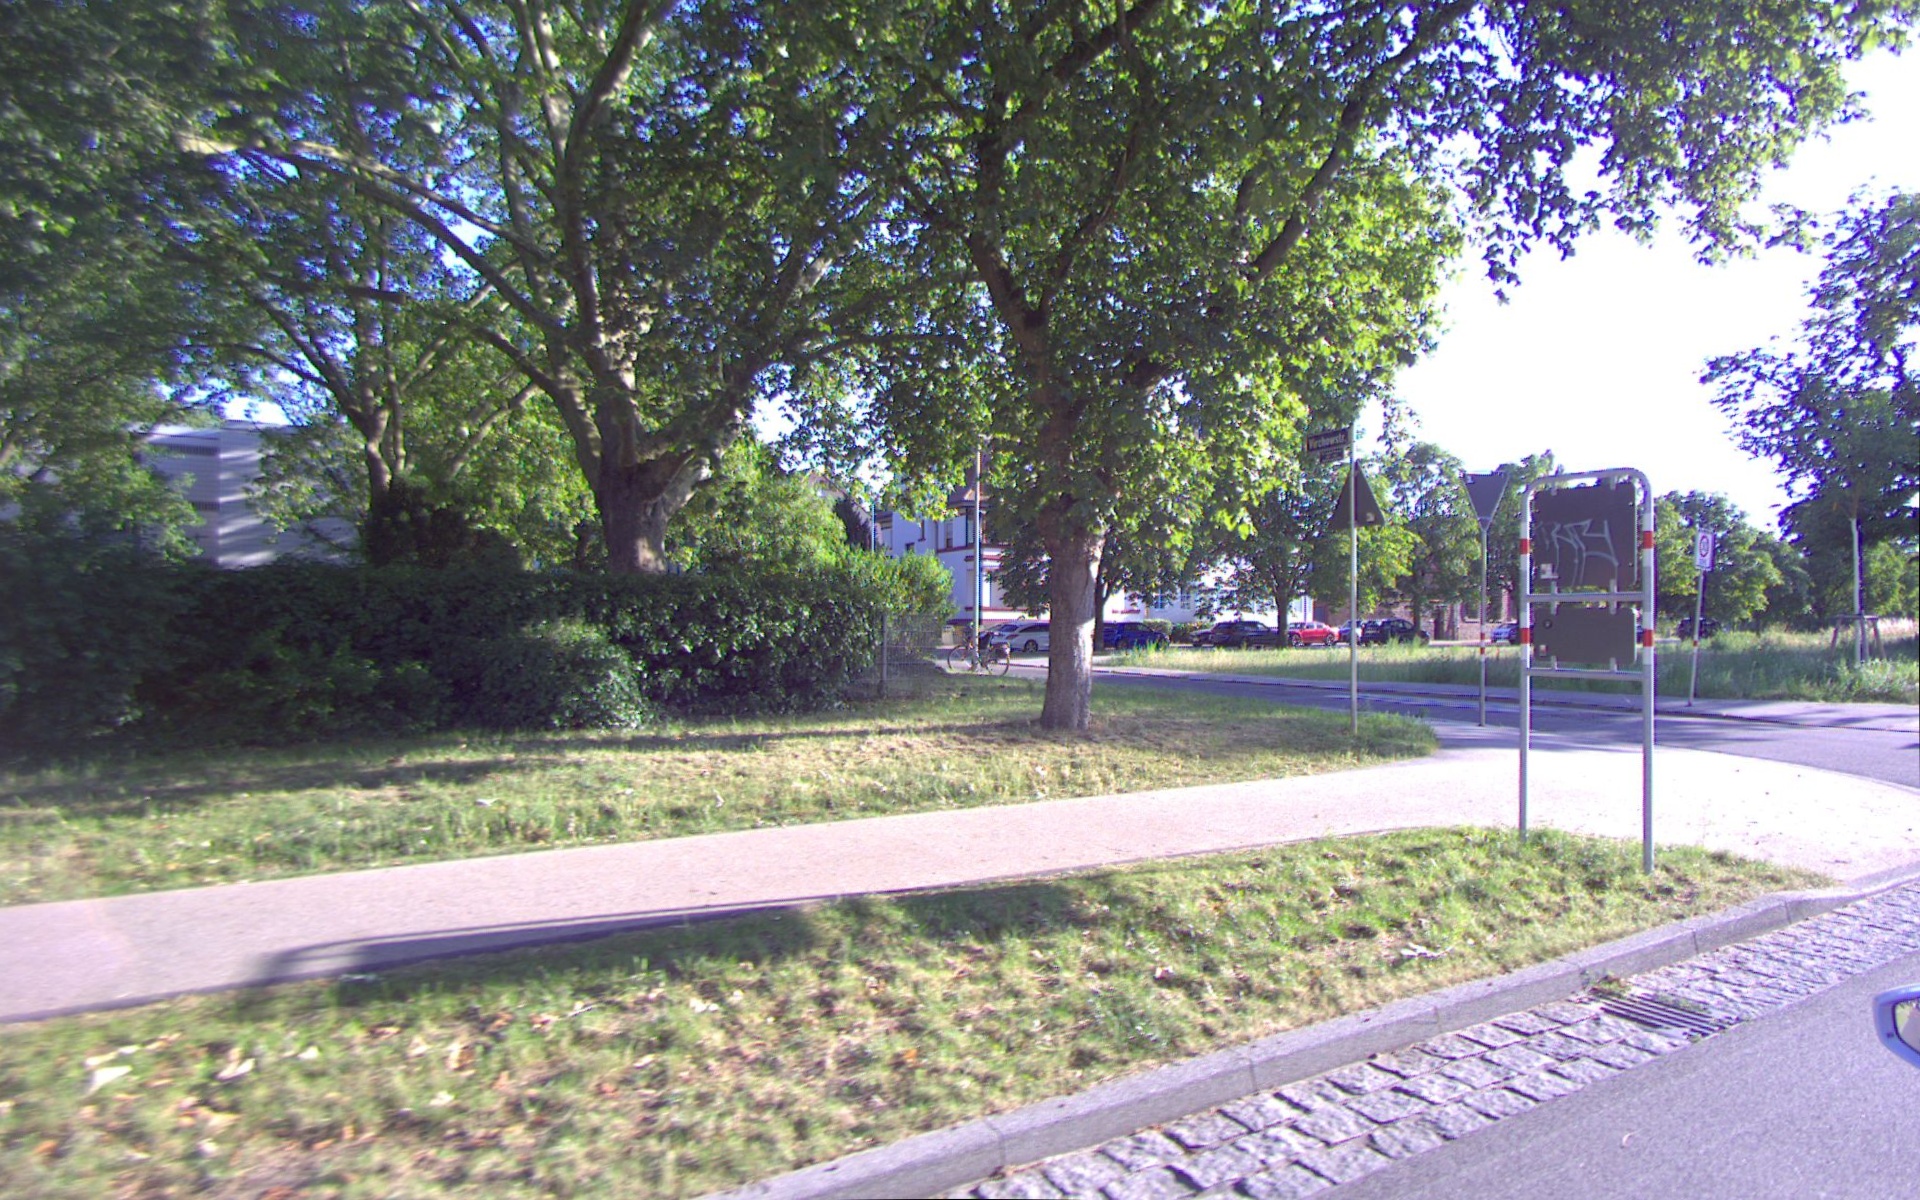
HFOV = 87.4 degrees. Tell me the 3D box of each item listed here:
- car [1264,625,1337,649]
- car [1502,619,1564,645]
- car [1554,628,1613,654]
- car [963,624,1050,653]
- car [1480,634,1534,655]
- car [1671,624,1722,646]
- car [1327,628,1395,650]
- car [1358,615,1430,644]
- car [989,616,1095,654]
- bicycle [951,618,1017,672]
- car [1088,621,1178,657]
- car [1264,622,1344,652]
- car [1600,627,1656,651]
[{"bbox_3d":[20.486,2.227,60.362,4.424,1.350,1.563,1,0,-29],"label":"car"},{"bbox_3d":[36.827,2.016,64.518,4.173,1.619,1.684,1,-1,-31],"label":"car"},{"bbox_3d":[41.885,2.735,67.428,4.173,1.619,1.684,1,-1,-31],"label":"car"},{"bbox_3d":[2.338,1.887,49.922,4.176,1.332,1.683,1,-1,-33],"label":"car"},{"bbox_3d":[39.360,3.162,72.246,3.953,1.424,1.621,1,-1,-31],"label":"car"},{"bbox_3d":[55.535,2.624,75.739,4.173,1.619,1.684,1,-1,-31],"label":"car"},{"bbox_3d":[25.220,2.439,63.109,4.424,1.350,1.563,1,0,-29],"label":"car"},{"bbox_3d":[24.644,1.665,57.005,4.173,1.619,1.684,1,-1,-31],"label":"car"},{"bbox_3d":[3.674,1.523,44.833,4.706,1.619,1.683,1,-1,-33],"label":"car"},{"bbox_3d":[0.538,1.032,23.185,1.564,1.202,0.418,0,-2,38],"label":"bicycle"},{"bbox_3d":[8.204,1.805,47.437,4.176,1.619,1.683,1,-1,-33],"label":"car"},{"bbox_3d":[17.975,1.909,52.444,4.174,1.496,1.683,1,-1,-32],"label":"car"},{"bbox_3d":[47.012,2.750,70.628,4.173,1.619,1.684,1,-1,-31],"label":"car"}]
